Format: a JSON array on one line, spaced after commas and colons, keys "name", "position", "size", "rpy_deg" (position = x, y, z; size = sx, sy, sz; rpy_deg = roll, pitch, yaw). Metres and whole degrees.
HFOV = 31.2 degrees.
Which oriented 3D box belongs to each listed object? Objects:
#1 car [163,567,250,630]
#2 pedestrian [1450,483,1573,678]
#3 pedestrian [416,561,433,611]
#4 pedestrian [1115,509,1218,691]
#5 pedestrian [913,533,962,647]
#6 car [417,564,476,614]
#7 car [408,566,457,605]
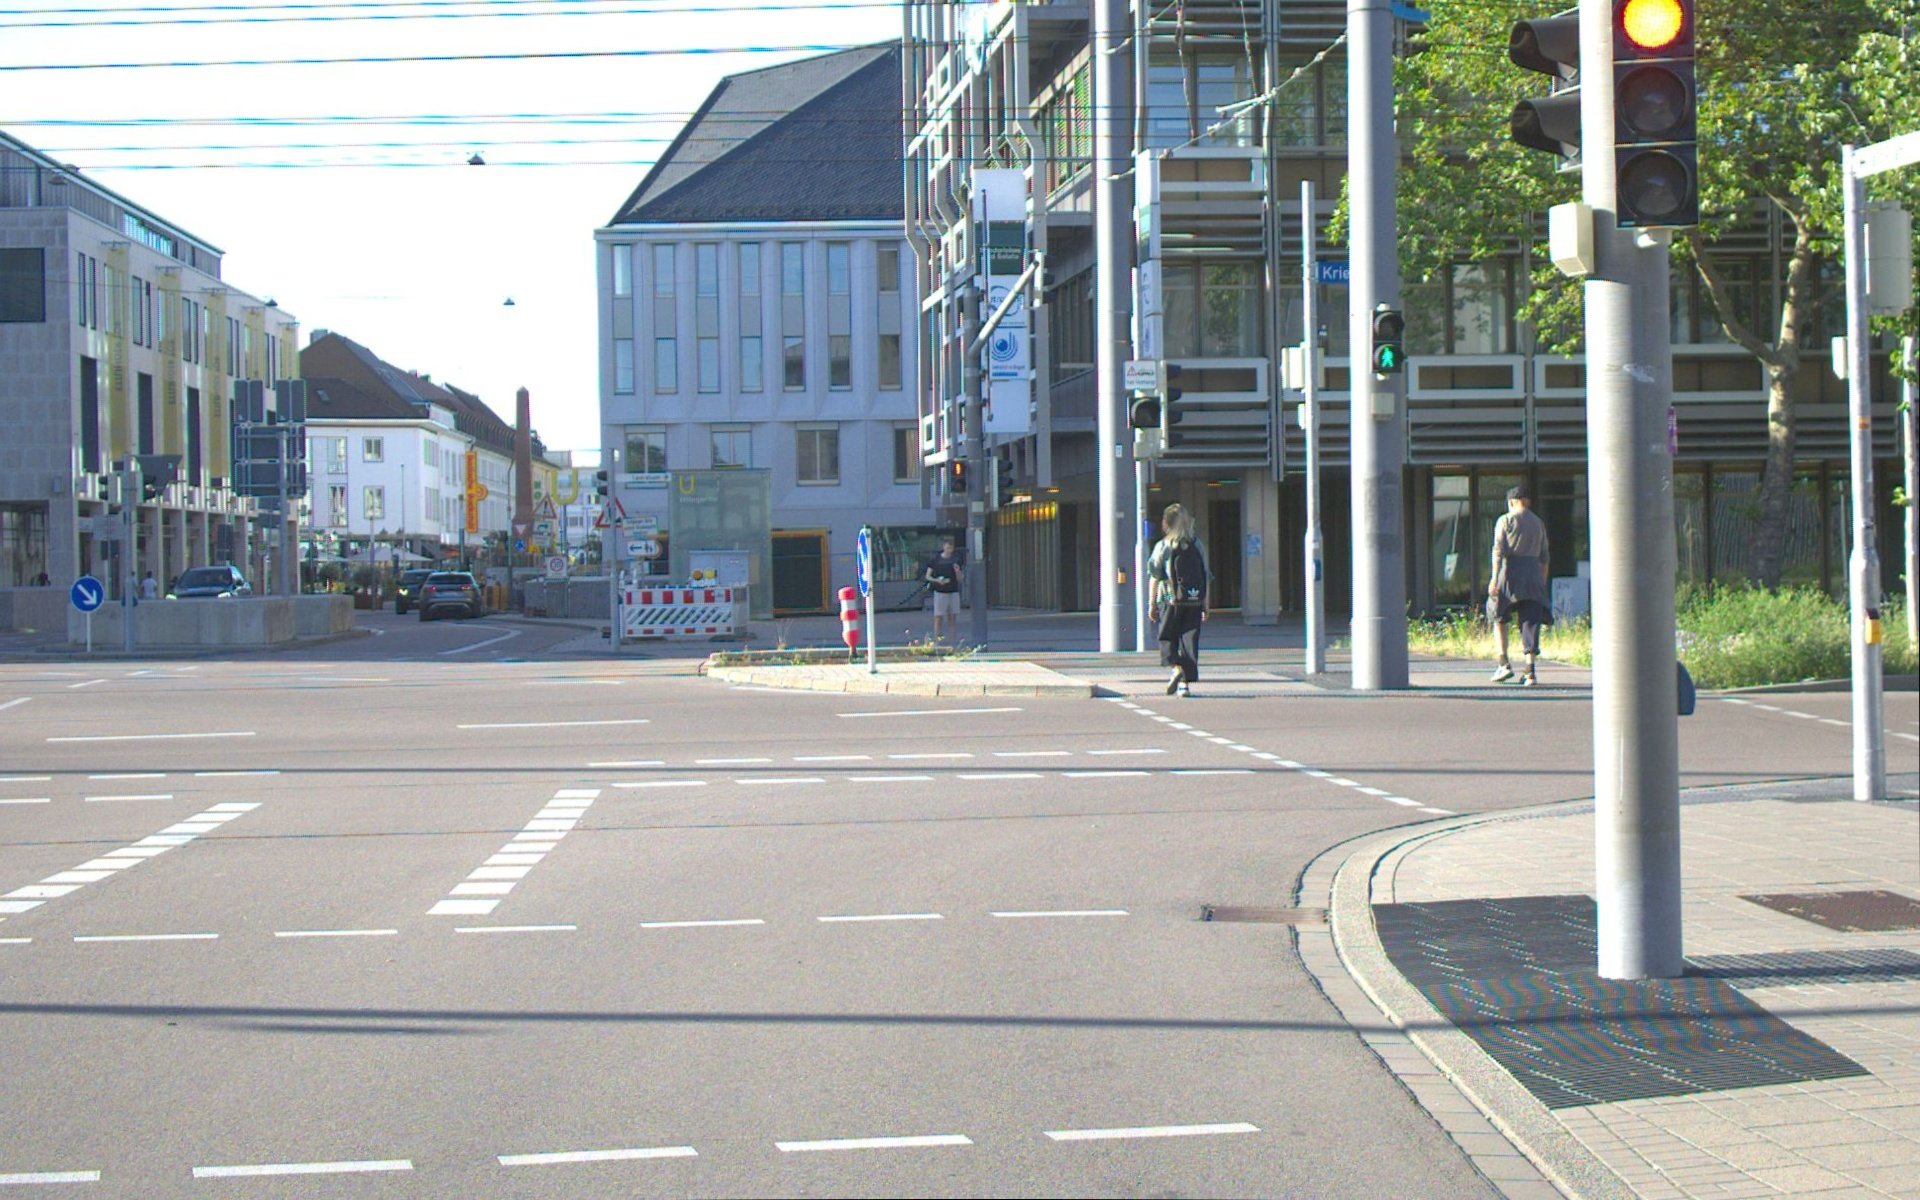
[{"name": "car", "position": [-20.717, -0.058, 94.655], "size": [1.797, 1.652, 4.001], "rpy_deg": [1, 1, -4]}, {"name": "pedestrian", "position": [4.785, -0.172, 29.868], "size": [0.878, 1.659, 0.965], "rpy_deg": [1, 0, -1]}, {"name": "pedestrian", "position": [-18.220, -0.477, 116.989], "size": [0.521, 1.674, 0.583], "rpy_deg": [1, 1, -7]}, {"name": "pedestrian", "position": [1.712, -0.002, 28.522], "size": [0.788, 1.487, 0.644], "rpy_deg": [1, 0, -1]}, {"name": "pedestrian", "position": [-0.373, -0.170, 57.313], "size": [0.788, 1.883, 0.644], "rpy_deg": [1, 0, -1]}, {"name": "car", "position": [-16.143, -0.362, 108.209], "size": [1.737, 1.525, 3.856], "rpy_deg": [1, 1, -7]}, {"name": "car", "position": [-23.112, -0.640, 150.641], "size": [1.797, 1.652, 4.001], "rpy_deg": [1, 1, -4]}]
